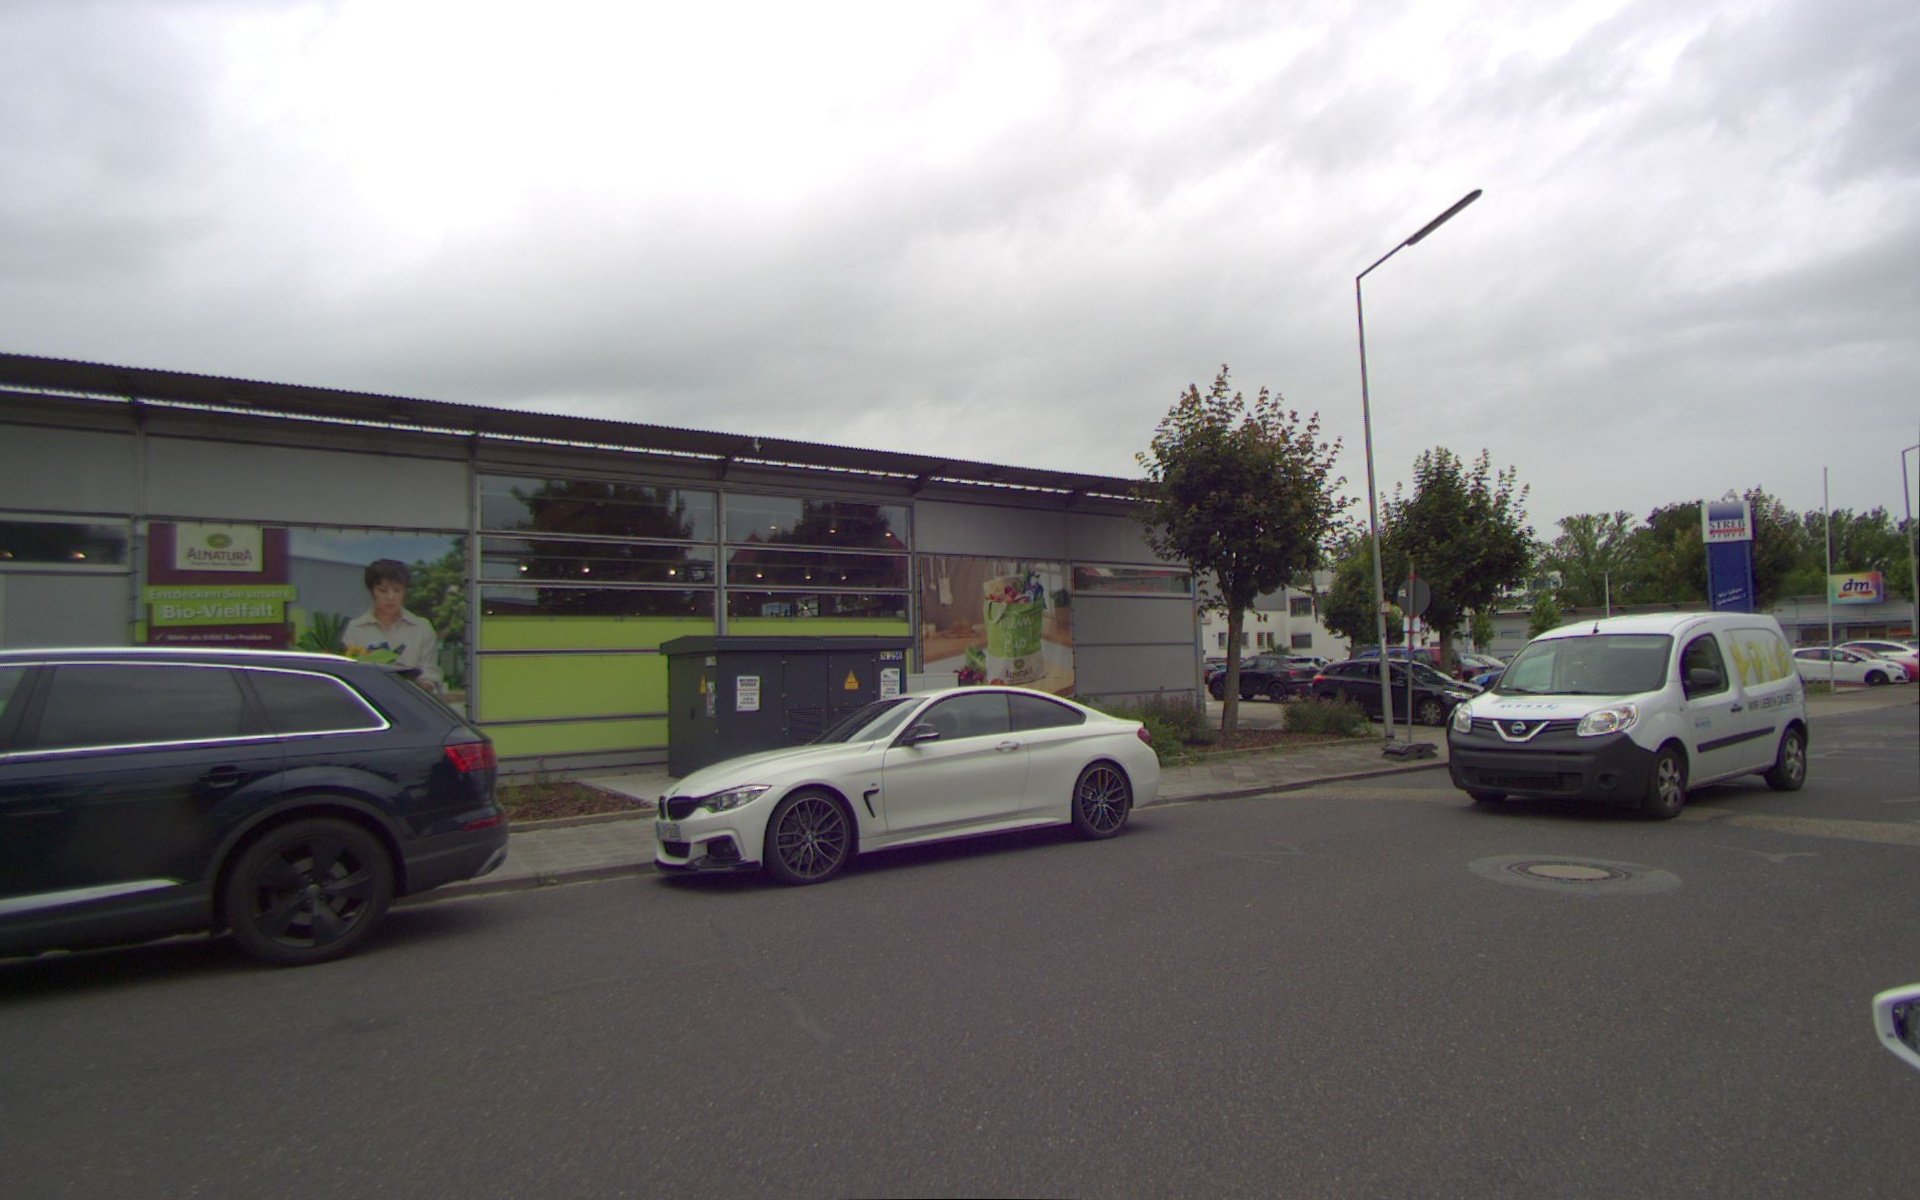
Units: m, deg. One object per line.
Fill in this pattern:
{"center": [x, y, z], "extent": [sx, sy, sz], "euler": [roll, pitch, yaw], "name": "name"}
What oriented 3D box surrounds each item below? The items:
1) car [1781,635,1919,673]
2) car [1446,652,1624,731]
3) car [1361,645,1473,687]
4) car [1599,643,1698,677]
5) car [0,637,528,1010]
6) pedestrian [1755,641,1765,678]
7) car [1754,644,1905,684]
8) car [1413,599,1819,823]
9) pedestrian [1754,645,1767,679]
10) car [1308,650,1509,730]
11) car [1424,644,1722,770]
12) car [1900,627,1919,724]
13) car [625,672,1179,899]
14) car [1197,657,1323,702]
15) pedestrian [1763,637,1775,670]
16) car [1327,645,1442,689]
{"center": [37.453, 2.308, 42.332], "extent": [1.882, 1.482, 4.105], "euler": [2, -5, -38], "name": "car"}
{"center": [15.930, 2.512, 27.988], "extent": [1.747, 2.039, 3.898], "euler": [2, -5, -40], "name": "car"}
{"center": [19.449, 2.844, 42.895], "extent": [1.856, 1.690, 3.966], "euler": [1, -4, -33], "name": "car"}
{"center": [37.125, 3.262, 54.229], "extent": [1.856, 1.690, 3.966], "euler": [1, -4, -33], "name": "car"}
{"center": [-5.008, 1.152, 5.442], "extent": [4.677, 1.712, 1.857], "euler": [1, -8, -33], "name": "car"}
{"center": [38.177, 2.846, 47.932], "extent": [0.260, 1.752, 0.420], "euler": [-4, -4, 44], "name": "pedestrian"}
{"center": [33.777, 2.501, 39.101], "extent": [1.938, 1.482, 4.168], "euler": [2, -5, -41], "name": "car"}
{"center": [6.515, 1.008, 9.878], "extent": [4.089, 1.783, 1.682], "euler": [1, -7, -33], "name": "car"}
{"center": [37.695, 2.898, 47.310], "extent": [0.355, 1.590, 0.501], "euler": [-4, -4, 42], "name": "pedestrian"}
{"center": [10.317, 2.005, 23.347], "extent": [1.907, 1.641, 3.852], "euler": [1, -3, -33], "name": "car"}
{"center": [8.890, 1.506, 14.490], "extent": [4.358, 1.545, 1.937], "euler": [1, -8, -34], "name": "car"}
{"center": [19.238, 1.299, 18.279], "extent": [4.445, 1.705, 1.924], "euler": [1, -5, -32], "name": "car"}
{"center": [-0.363, 1.432, 8.602], "extent": [4.472, 1.384, 1.690], "euler": [1, -9, -35], "name": "car"}
{"center": [10.787, 2.862, 36.265], "extent": [3.946, 1.504, 1.865], "euler": [-5, -5, 44], "name": "car"}
{"center": [38.463, 2.544, 47.772], "extent": [0.326, 1.590, 0.501], "euler": [-4, -4, 42], "name": "pedestrian"}
{"center": [17.400, 2.757, 41.291], "extent": [1.856, 1.690, 3.966], "euler": [1, -4, -33], "name": "car"}
